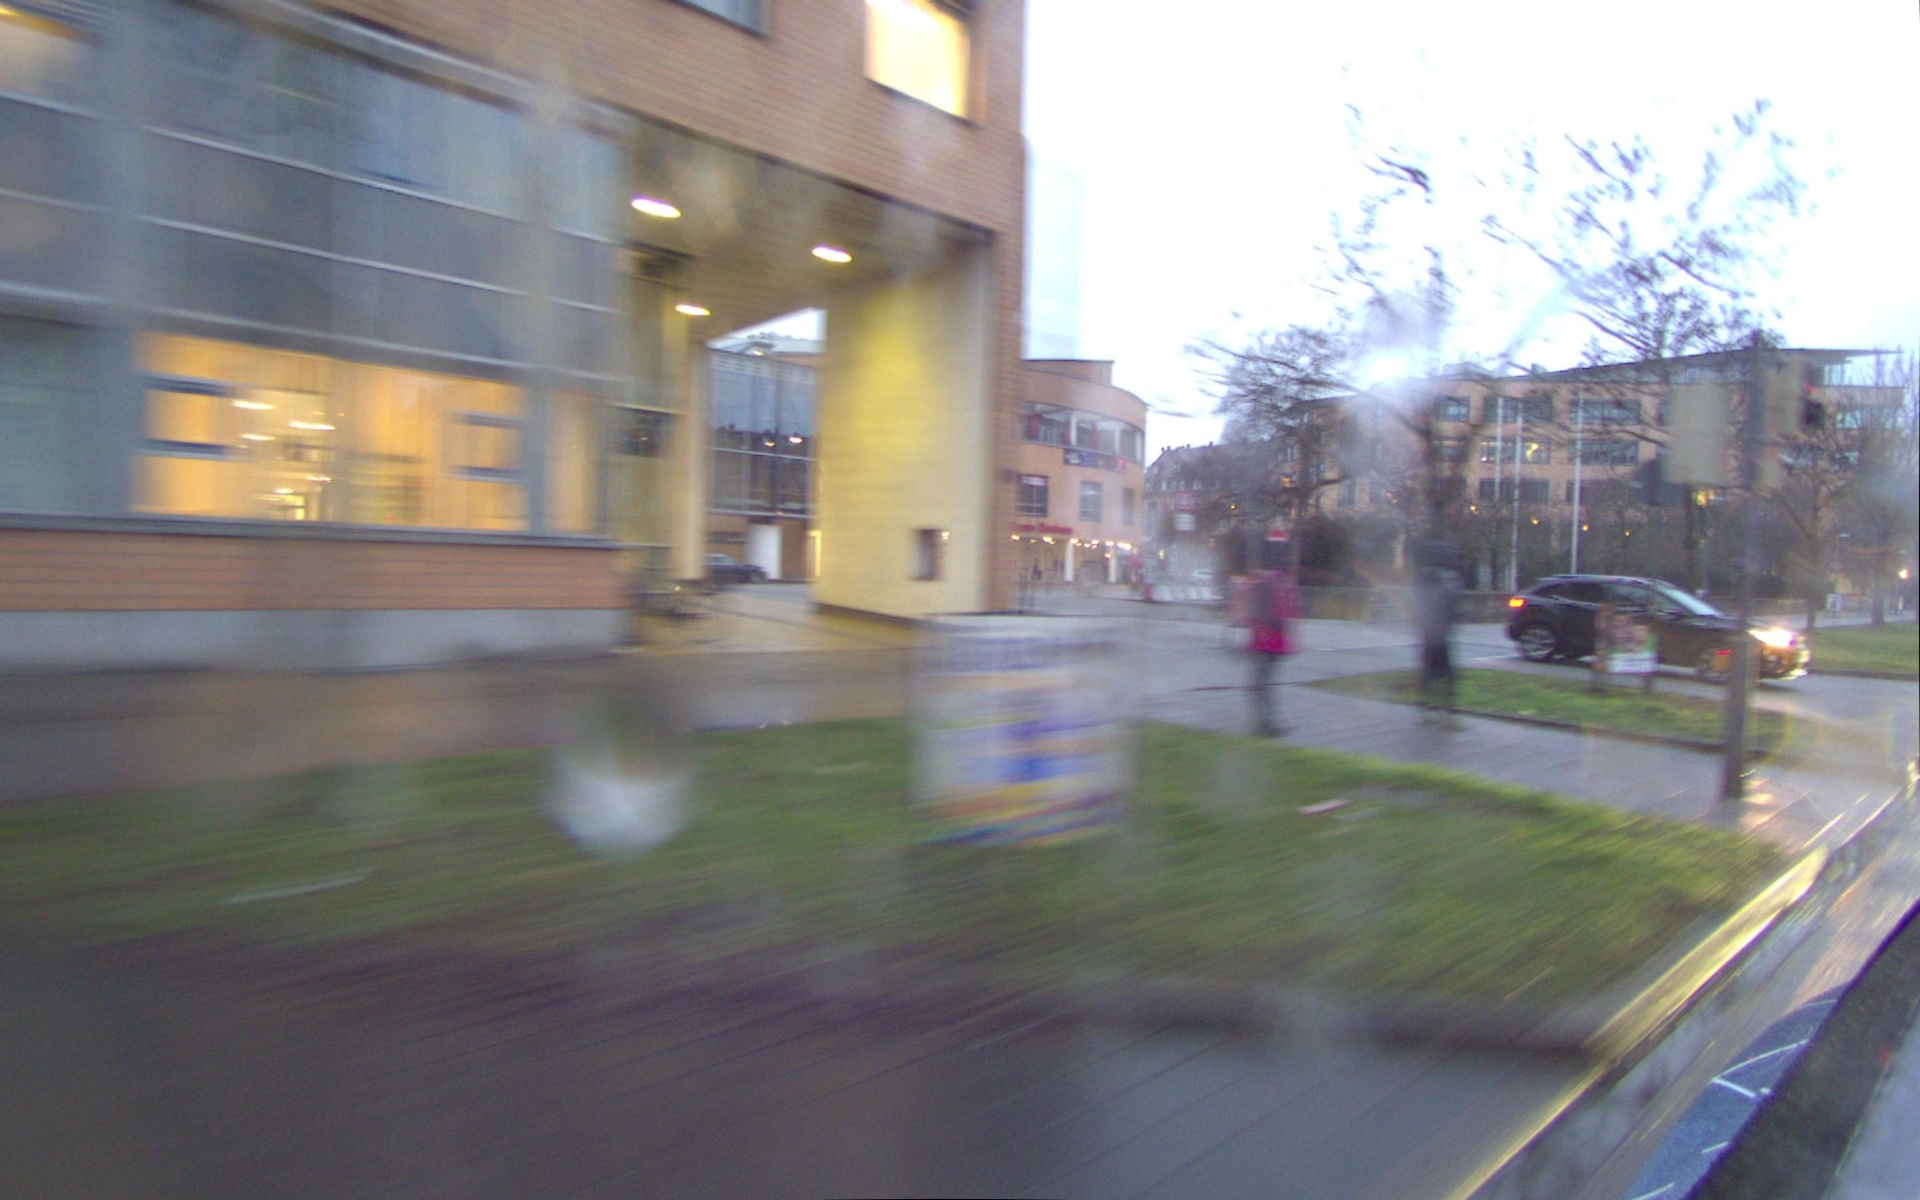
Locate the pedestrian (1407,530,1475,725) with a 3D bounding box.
[{"bbox_3d":[4.768,0.251,10.057,0.500,1.847,0.653,3,2,24],"label":"pedestrian"}]

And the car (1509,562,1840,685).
[{"bbox_3d":[11.344,0.276,16.314,1.711,1.574,3.998,0,4,-39],"label":"car"}]

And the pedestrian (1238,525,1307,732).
[{"bbox_3d":[2.792,0.231,9.057,0.499,1.763,0.654,3,2,17],"label":"pedestrian"}]

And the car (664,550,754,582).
[{"bbox_3d":[-12.522,-1.689,50.538,3.921,1.415,2.002,0,3,-32],"label":"car"}]
